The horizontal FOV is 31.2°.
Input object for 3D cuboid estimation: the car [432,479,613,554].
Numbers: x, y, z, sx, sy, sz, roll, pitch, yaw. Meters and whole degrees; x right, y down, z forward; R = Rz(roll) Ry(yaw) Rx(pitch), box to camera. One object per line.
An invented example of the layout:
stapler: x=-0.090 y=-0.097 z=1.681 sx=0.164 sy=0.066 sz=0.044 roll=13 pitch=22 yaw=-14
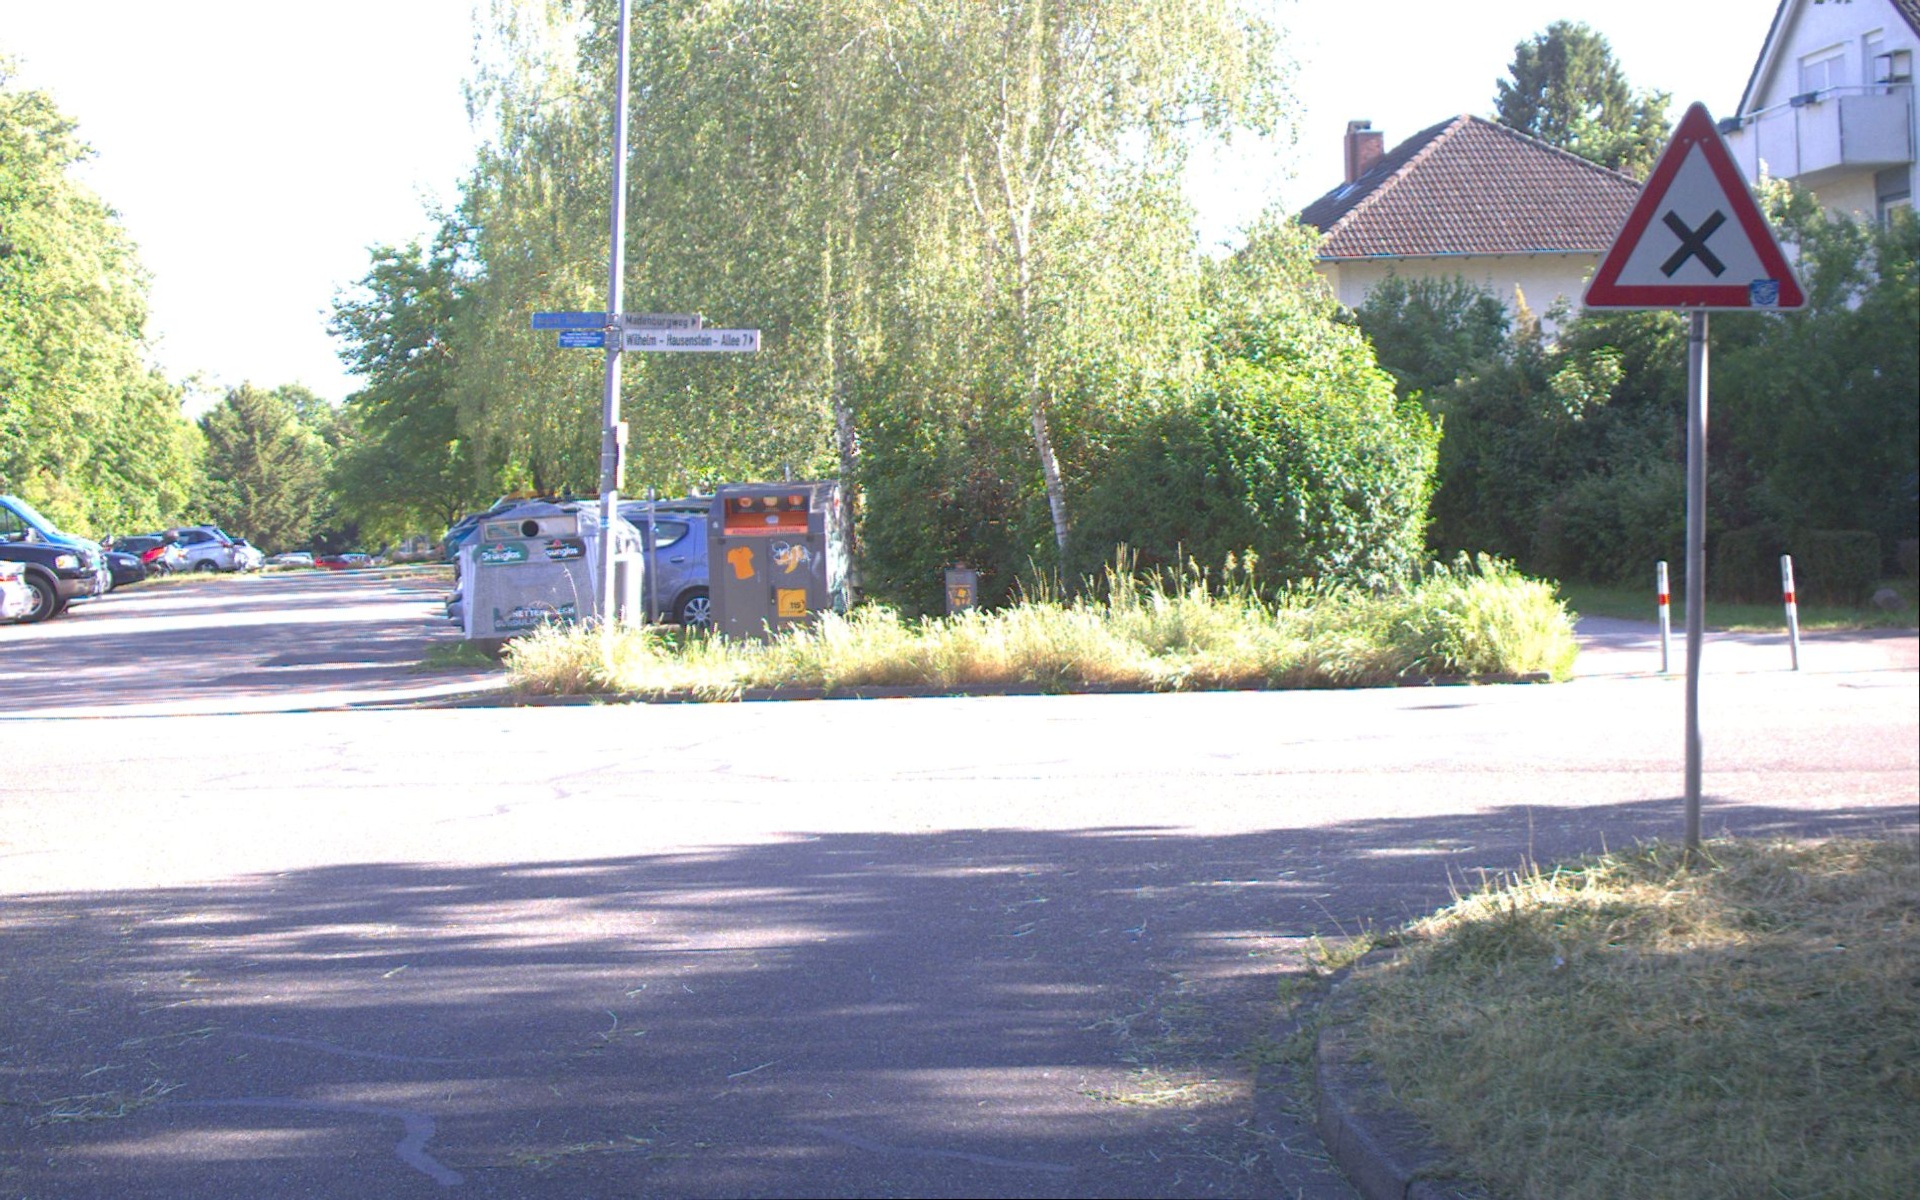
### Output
car: x=-9.975 y=-1.901 z=78.556 sx=3.986 sy=1.580 sz=1.798 roll=-2 pitch=1 yaw=-5

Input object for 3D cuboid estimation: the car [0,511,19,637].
car: x=-15.177 y=-0.206 z=45.328 sx=4.991 sy=1.648 sz=1.785 roll=-3 pitch=2 yaw=-2

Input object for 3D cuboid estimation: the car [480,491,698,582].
car: x=-6.967 y=-1.200 z=64.818 sx=3.986 sy=1.580 sz=1.798 roll=-2 pitch=1 yaw=-5

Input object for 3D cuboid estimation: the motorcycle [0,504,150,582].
motorcycle: x=-19.706 y=-1.273 z=76.340 sx=3.190 sy=1.590 sz=0.923 roll=-3 pitch=2 yaw=-6

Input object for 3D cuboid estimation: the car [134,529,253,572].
car: x=-27.151 y=-1.764 z=121.908 sx=3.939 sy=1.329 sz=1.848 roll=-3 pitch=2 yaw=-9

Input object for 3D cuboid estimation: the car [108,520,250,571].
car: x=-23.277 y=-1.634 z=102.550 sx=3.939 sy=1.329 sz=1.848 roll=-3 pitch=2 yaw=-9

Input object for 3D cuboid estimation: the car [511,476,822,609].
car: x=-4.163 y=-0.840 z=48.638 sx=4.102 sy=1.700 sz=1.792 roll=-2 pitch=3 yaw=-14

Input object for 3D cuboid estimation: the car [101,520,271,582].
car: x=-19.169 y=-1.227 z=85.265 sx=3.939 sy=1.329 sz=1.848 roll=-3 pitch=2 yaw=-9

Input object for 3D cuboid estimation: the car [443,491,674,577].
car: x=-7.104 y=-1.184 z=61.098 sx=3.986 sy=1.396 sz=1.798 roll=-2 pitch=1 yaw=-5

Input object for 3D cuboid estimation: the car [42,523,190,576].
car: x=-24.303 y=-1.475 z=99.076 sx=3.939 sy=1.329 sz=1.848 roll=-3 pitch=2 yaw=-9

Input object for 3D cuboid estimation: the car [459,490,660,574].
car: x=-8.171 y=-1.398 z=70.338 sx=3.986 sy=1.580 sz=1.798 roll=-2 pitch=1 yaw=-5

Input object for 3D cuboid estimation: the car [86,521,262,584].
car: x=-18.775 y=-1.147 z=82.243 sx=3.939 sy=1.329 sz=1.848 roll=-3 pitch=2 yaw=-9

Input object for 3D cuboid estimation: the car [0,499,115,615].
car: x=-16.099 y=-0.644 z=55.322 sx=4.522 sy=1.765 sz=1.847 roll=-2 pitch=2 yaw=-3

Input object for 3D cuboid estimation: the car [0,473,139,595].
car: x=-18.591 y=-1.152 z=63.937 sx=6.255 sy=2.139 sz=2.412 roll=-3 pitch=2 yaw=-10

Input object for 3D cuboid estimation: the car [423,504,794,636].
car: x=-4.078 y=-0.359 z=40.219 sx=4.053 sy=1.434 sz=1.634 roll=-1 pitch=2 yaw=5

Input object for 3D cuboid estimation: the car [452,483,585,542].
car: x=-13.695 y=-2.711 z=106.871 sx=3.986 sy=1.702 sz=1.798 roll=-2 pitch=1 yaw=-5

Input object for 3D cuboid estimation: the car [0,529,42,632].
car: x=-15.416 y=-0.175 z=49.325 sx=4.142 sy=1.449 sz=1.620 roll=-4 pitch=2 yaw=-10

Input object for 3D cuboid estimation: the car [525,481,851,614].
car: x=-3.641 y=-0.722 z=45.815 sx=4.051 sy=1.597 sz=1.792 roll=-2 pitch=3 yaw=-13
